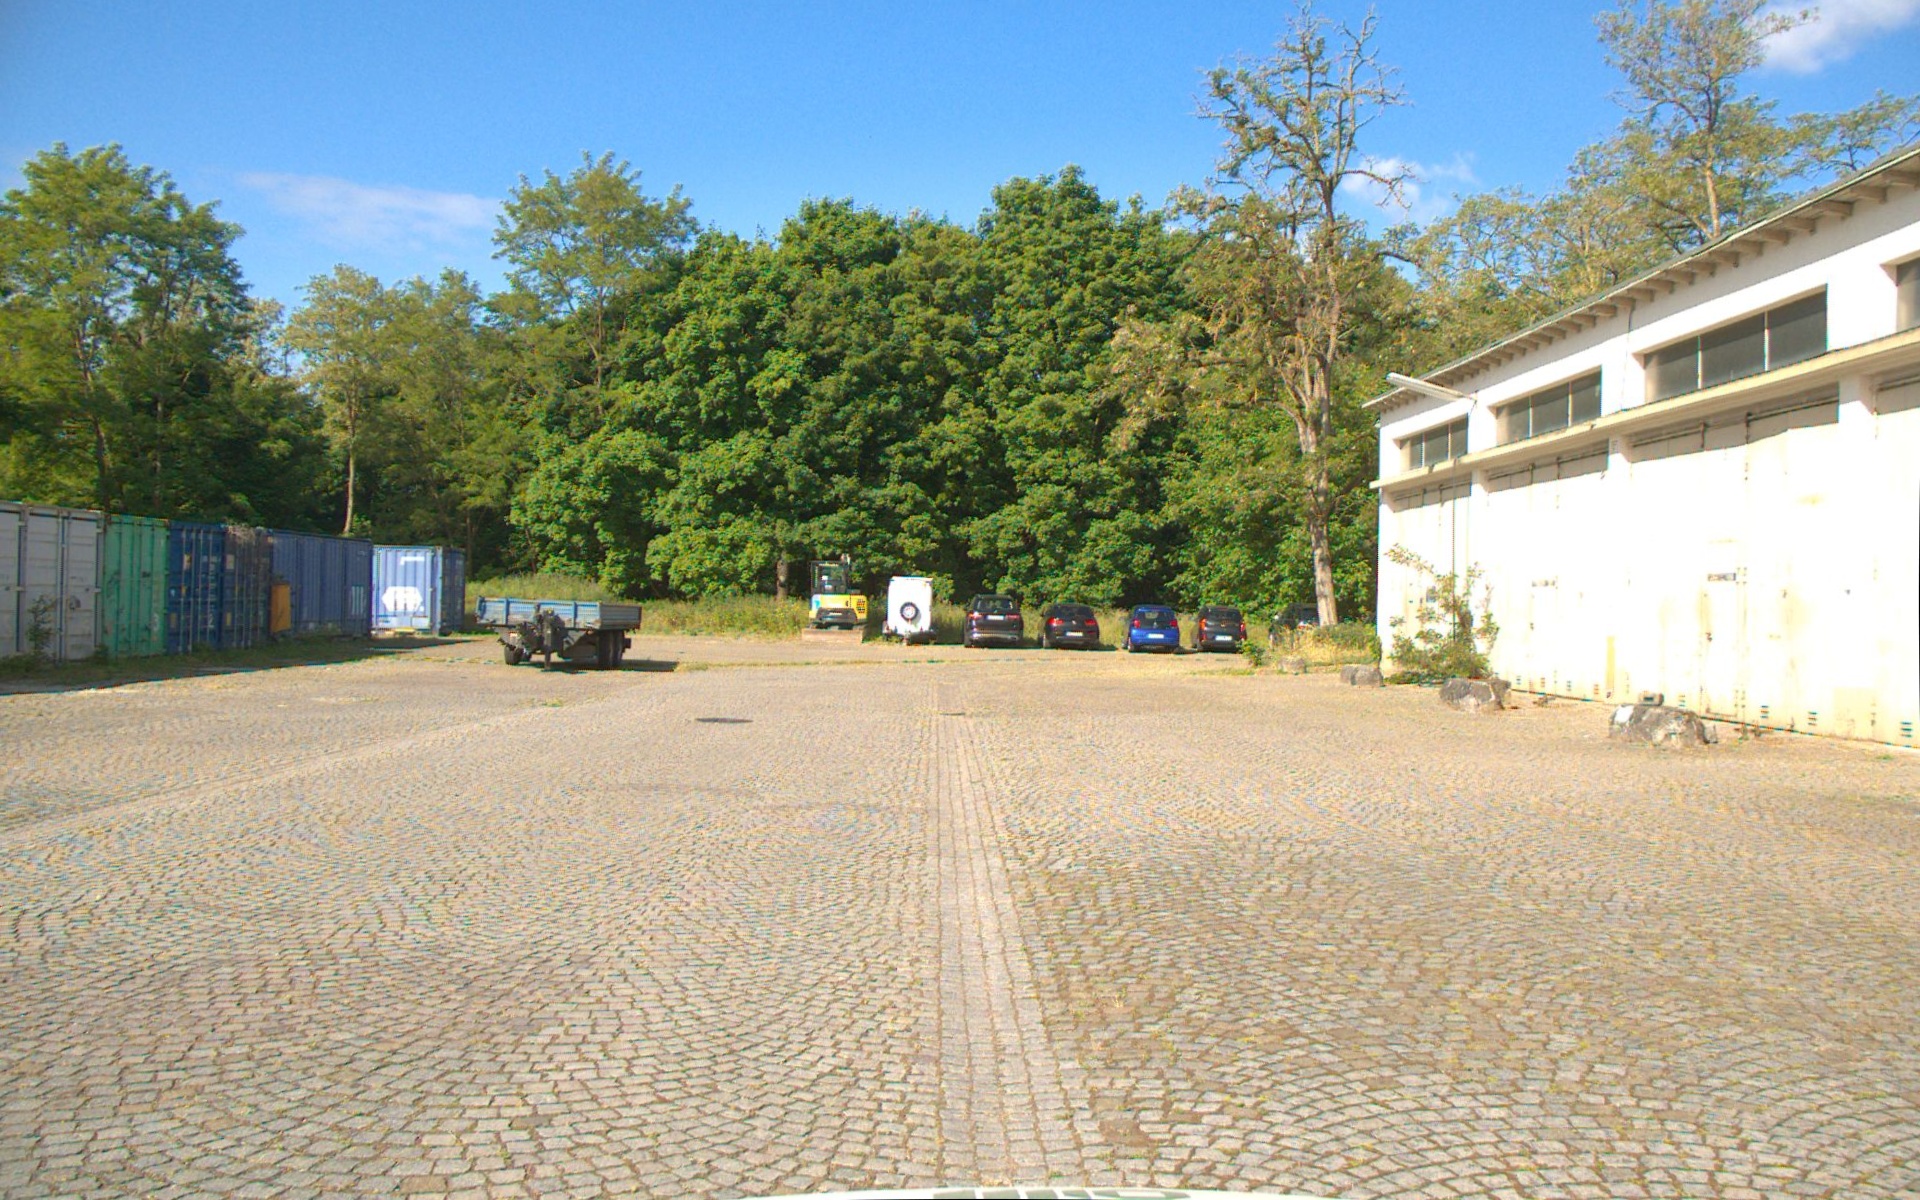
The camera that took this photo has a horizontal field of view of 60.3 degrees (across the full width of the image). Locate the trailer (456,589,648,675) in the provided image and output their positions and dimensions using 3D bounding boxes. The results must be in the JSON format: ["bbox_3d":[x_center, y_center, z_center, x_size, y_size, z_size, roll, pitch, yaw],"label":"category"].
[{"bbox_3d":[-8.379,0.596,34.701,2.651,1.491,6.245,2,1,-2],"label":"trailer"}]

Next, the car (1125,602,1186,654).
[{"bbox_3d":[6.229,0.860,52.995,1.707,1.461,4.185,2,1,4],"label":"car"}]

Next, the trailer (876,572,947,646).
[{"bbox_3d":[-1.591,0.225,54.922,2.149,2.225,5.750,2,1,-1],"label":"trailer"}]

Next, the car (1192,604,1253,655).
[{"bbox_3d":[8.610,0.942,54.449,1.707,1.461,4.186,2,1,6],"label":"car"}]

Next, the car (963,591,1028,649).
[{"bbox_3d":[1.087,0.595,52.591,1.826,1.617,4.295,2,1,-1],"label":"car"}]

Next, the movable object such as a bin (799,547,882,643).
[{"bbox_3d":[-3.923,-0.221,55.473,2.259,2.947,5.751,2,1,0],"label":"movable object such as a bin"}]

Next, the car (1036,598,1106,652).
[{"bbox_3d":[3.518,0.760,53.005,1.826,1.495,4.295,2,1,-1],"label":"car"}]
